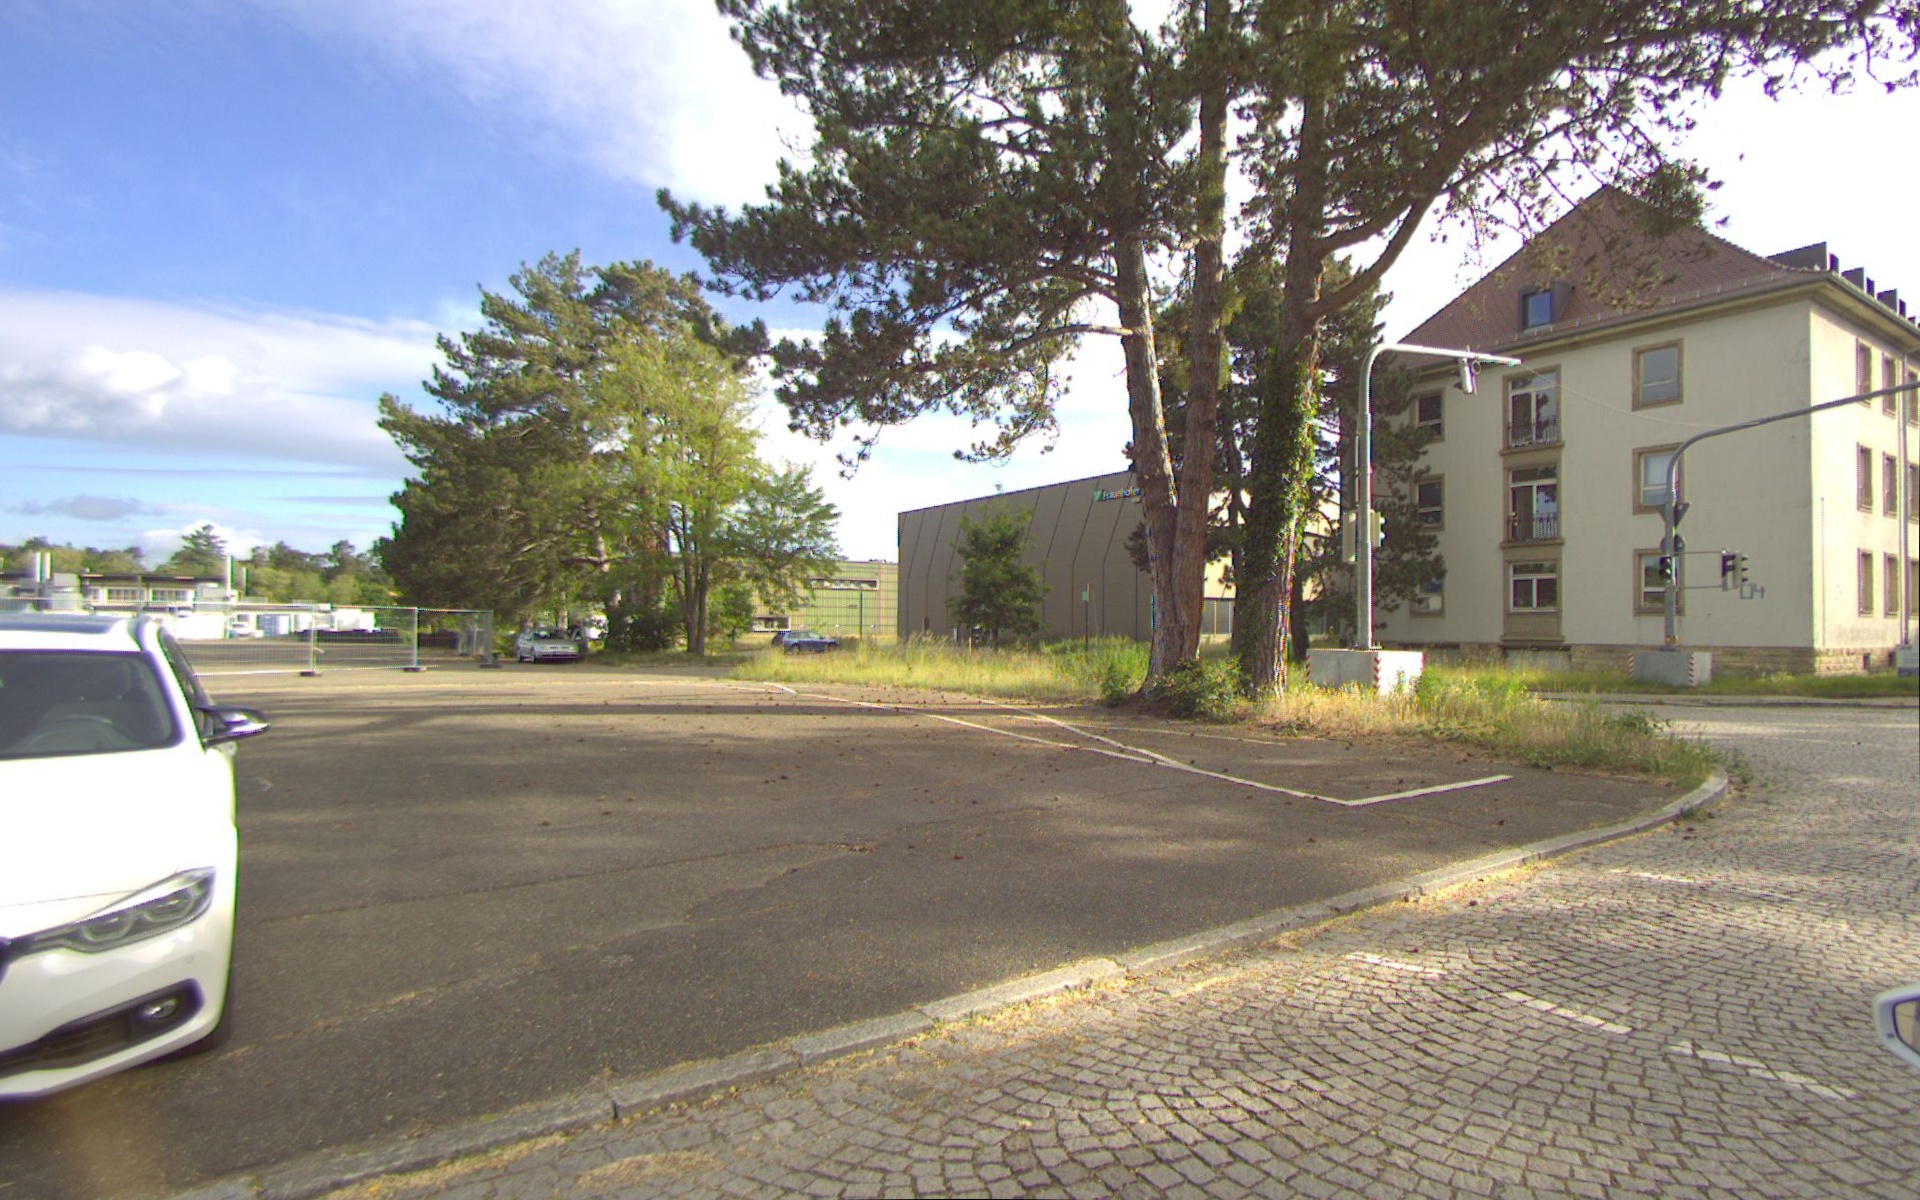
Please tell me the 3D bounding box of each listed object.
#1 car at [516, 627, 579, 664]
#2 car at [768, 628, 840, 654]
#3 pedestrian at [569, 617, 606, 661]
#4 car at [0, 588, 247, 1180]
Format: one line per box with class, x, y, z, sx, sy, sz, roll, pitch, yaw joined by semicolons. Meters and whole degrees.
car;-16.715;1.821;40.626;1.648;1.400;3.963;2;-2;-33
car;-9.801;2.584;63.146;4.119;1.580;1.790;2;-2;-38
pedestrian;-15.406;1.616;41.530;0.862;1.767;1.095;0;-2;25
car;-4.227;0.744;4.269;1.885;1.475;4.554;0;2;-36
